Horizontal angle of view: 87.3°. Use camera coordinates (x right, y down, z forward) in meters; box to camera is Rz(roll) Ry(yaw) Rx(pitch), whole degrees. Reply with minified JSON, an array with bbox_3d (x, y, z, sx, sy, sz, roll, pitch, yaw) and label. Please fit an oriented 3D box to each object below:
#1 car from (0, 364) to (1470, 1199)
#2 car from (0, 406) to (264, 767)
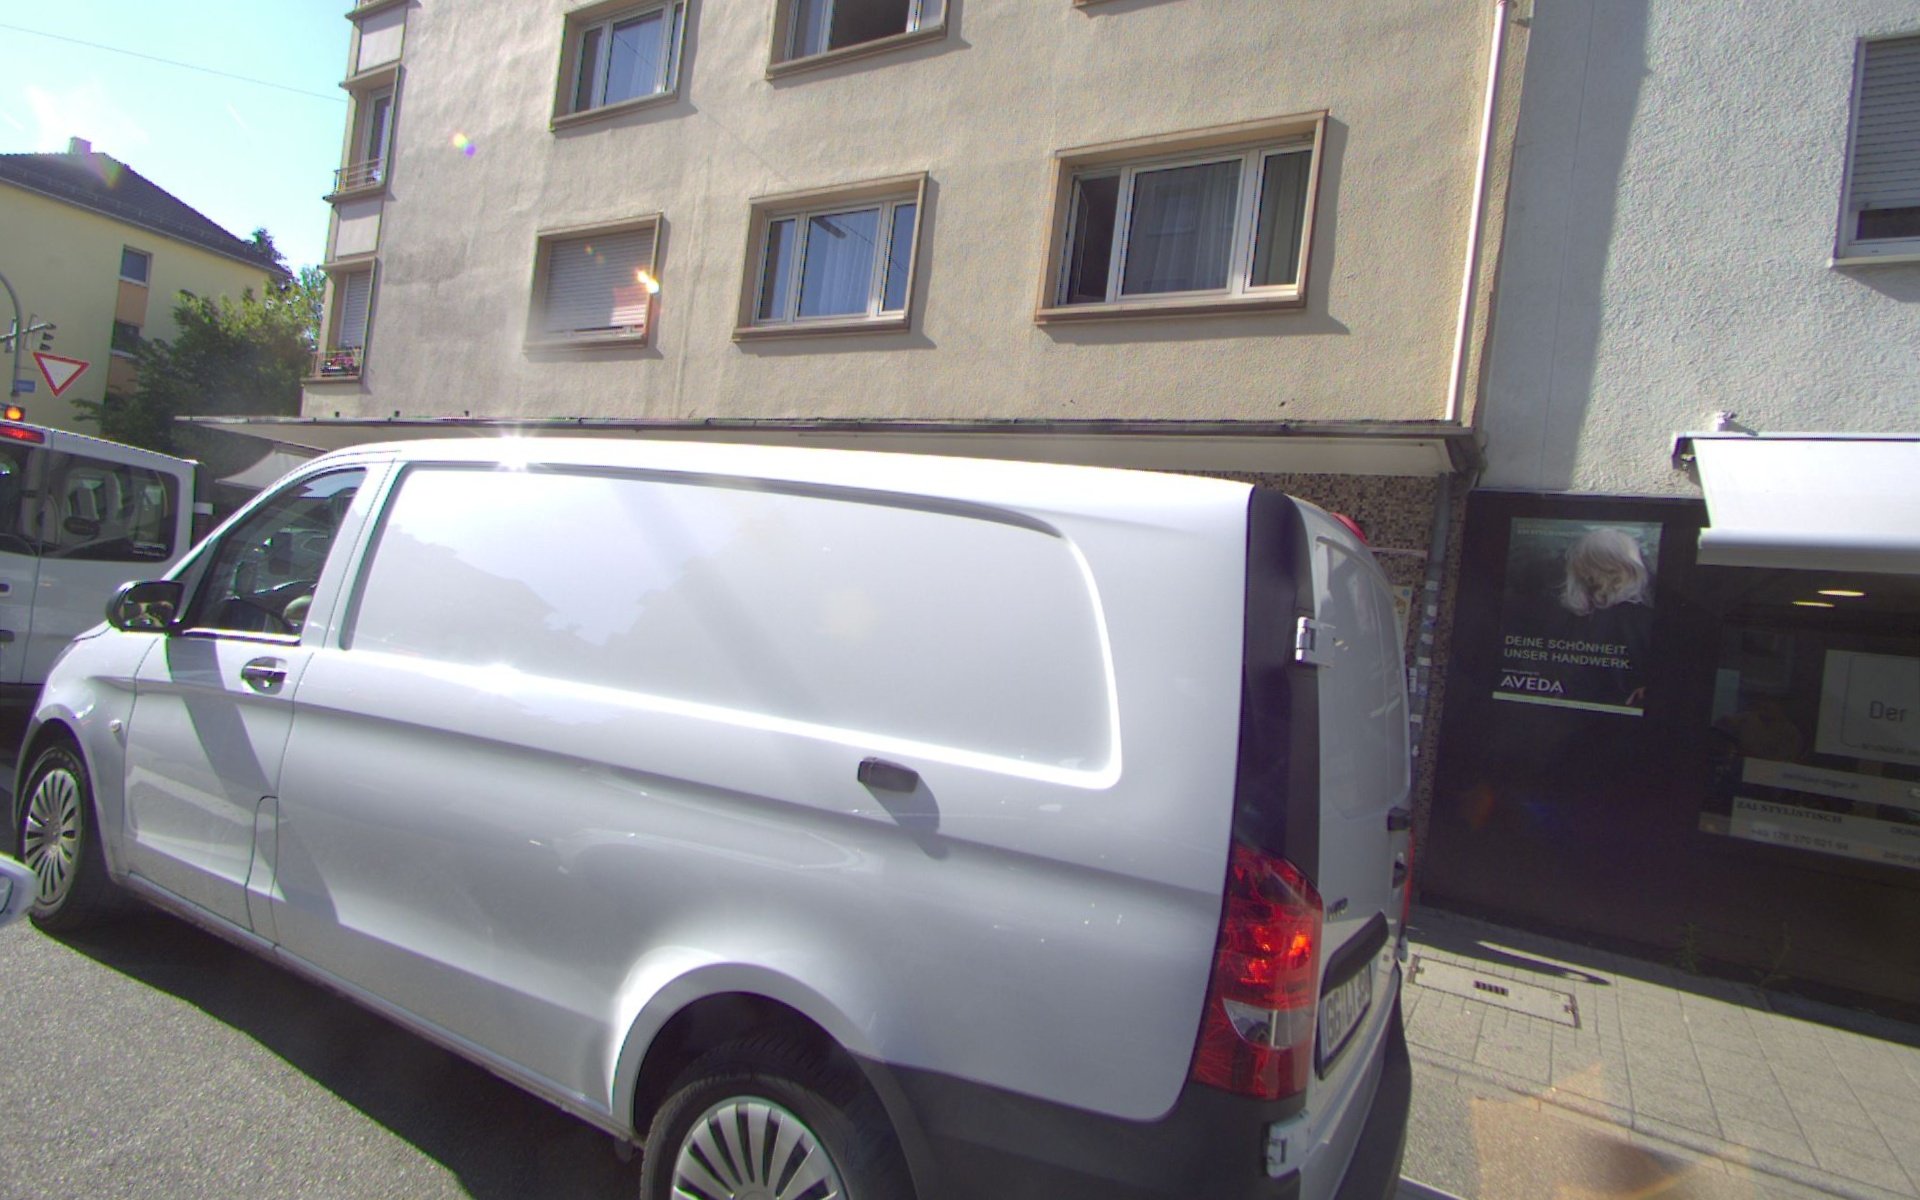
[{"bbox_3d":[-1.166,0.448,3.408,4.912,1.891,1.840,7,-1,30],"label":"car"},{"bbox_3d":[-7.290,-0.278,7.031,4.813,2.001,1.999,7,-3,31],"label":"car"}]
